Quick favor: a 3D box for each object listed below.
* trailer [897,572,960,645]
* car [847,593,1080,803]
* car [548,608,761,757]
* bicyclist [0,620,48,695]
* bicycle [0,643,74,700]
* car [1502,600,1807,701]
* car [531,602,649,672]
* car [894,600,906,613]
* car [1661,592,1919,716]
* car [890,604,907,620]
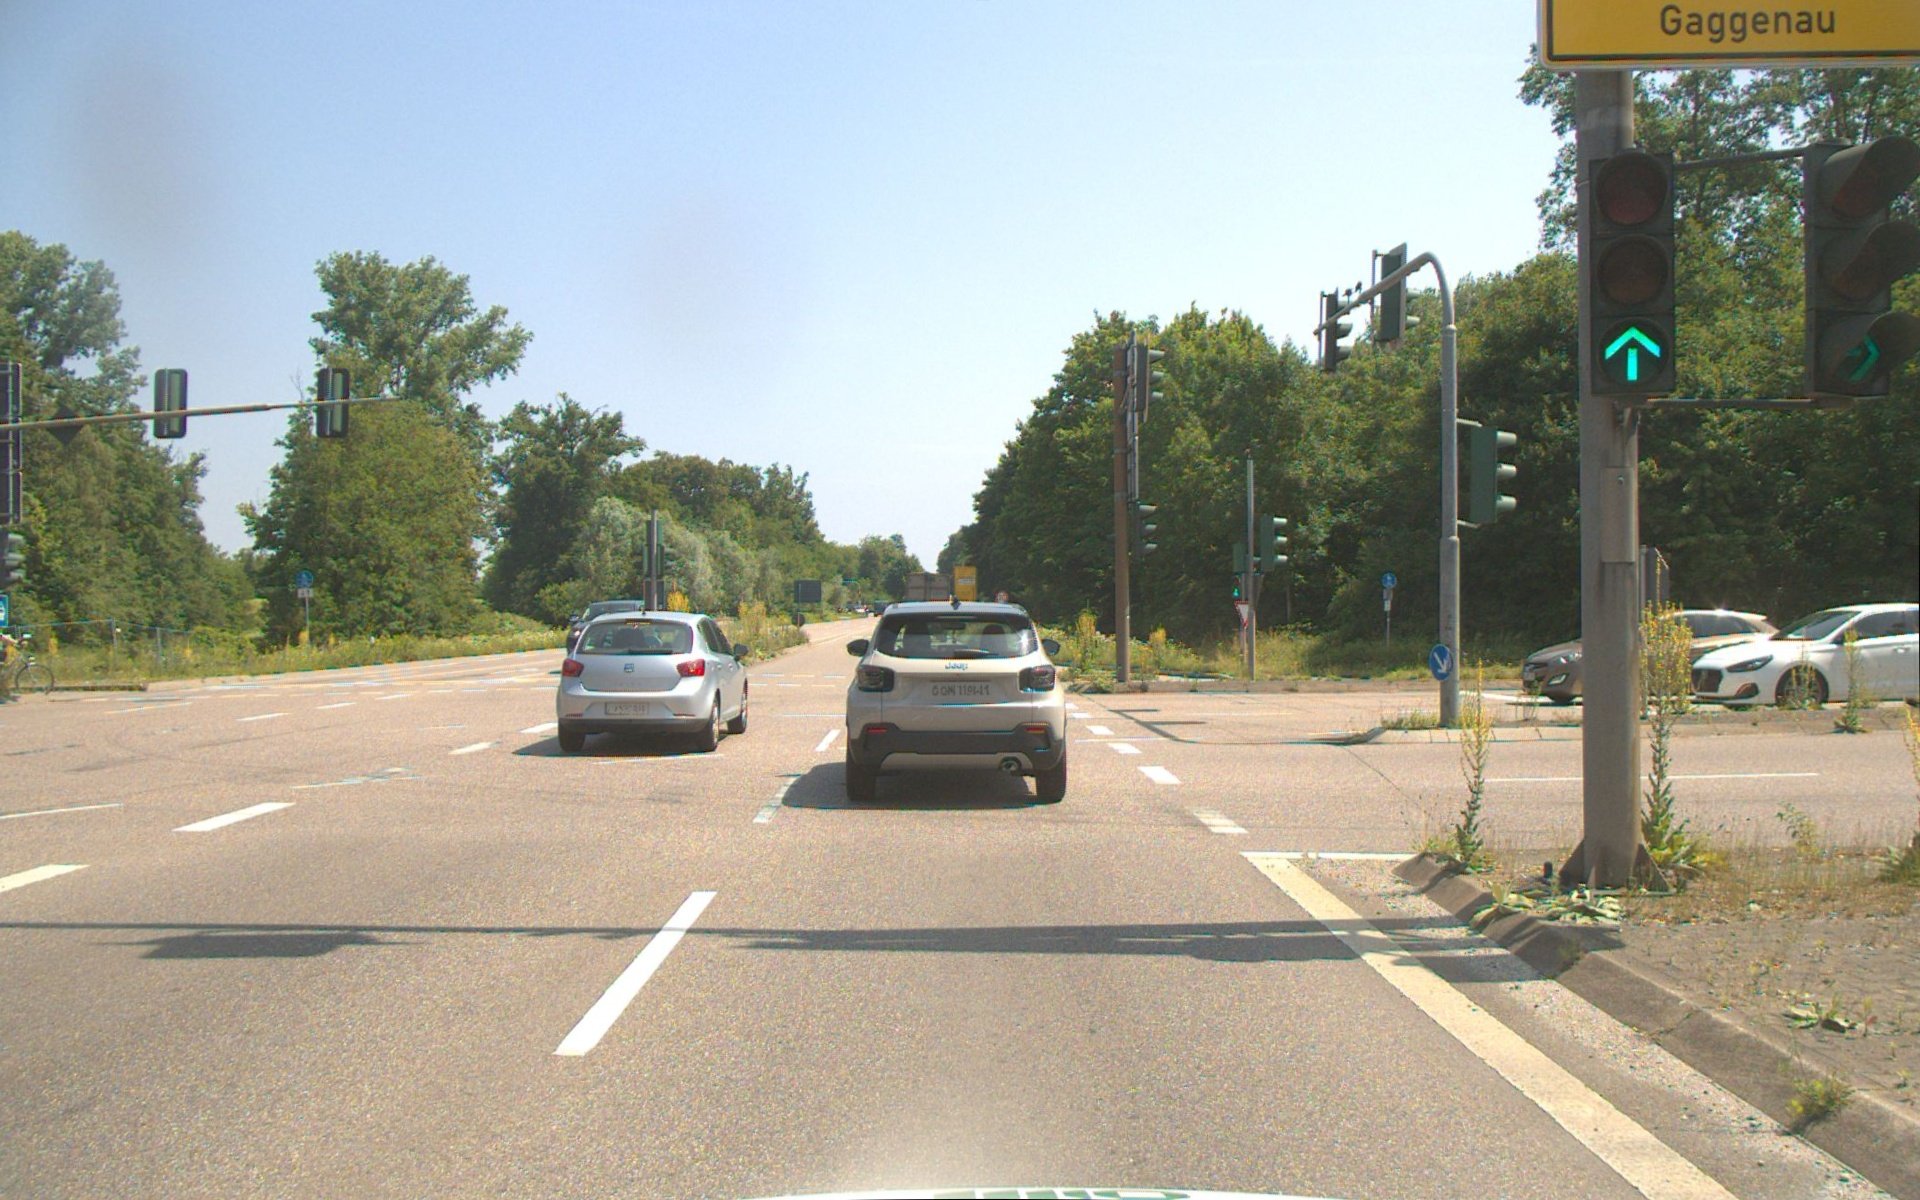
[{"bbox_3d":[-1.772,0.539,98.419,3.313,4.059,10.804,1,-1,1],"label":"trailer"},{"bbox_3d":[0.027,0.744,14.327,1.731,1.562,4.000,0,0,0],"label":"car"},{"bbox_3d":[-3.274,0.829,18.376,1.631,1.455,3.828,1,0,0],"label":"car"},{"bbox_3d":[-18.993,1.155,33.380,0.908,1.485,0.713,-1,-1,37],"label":"bicyclist"},{"bbox_3d":[-19.006,1.438,33.366,0.710,1.082,1.862,-1,-1,36],"label":"bicycle"},{"bbox_3d":[11.006,0.777,26.396,4.010,1.472,1.994,-1,0,-3],"label":"car"},{"bbox_3d":[-9.895,0.956,44.720,1.953,1.707,5.365,-2,0,0],"label":"car"},{"bbox_3d":[-9.573,1.039,262.363,1.737,2.049,4.000,-1,0,0],"label":"car"},{"bbox_3d":[12.163,0.695,22.564,4.331,1.562,1.999,-1,0,-3],"label":"car"},{"bbox_3d":[-8.123,1.589,218.542,1.953,2.049,4.553,-1,0,0],"label":"car"}]
